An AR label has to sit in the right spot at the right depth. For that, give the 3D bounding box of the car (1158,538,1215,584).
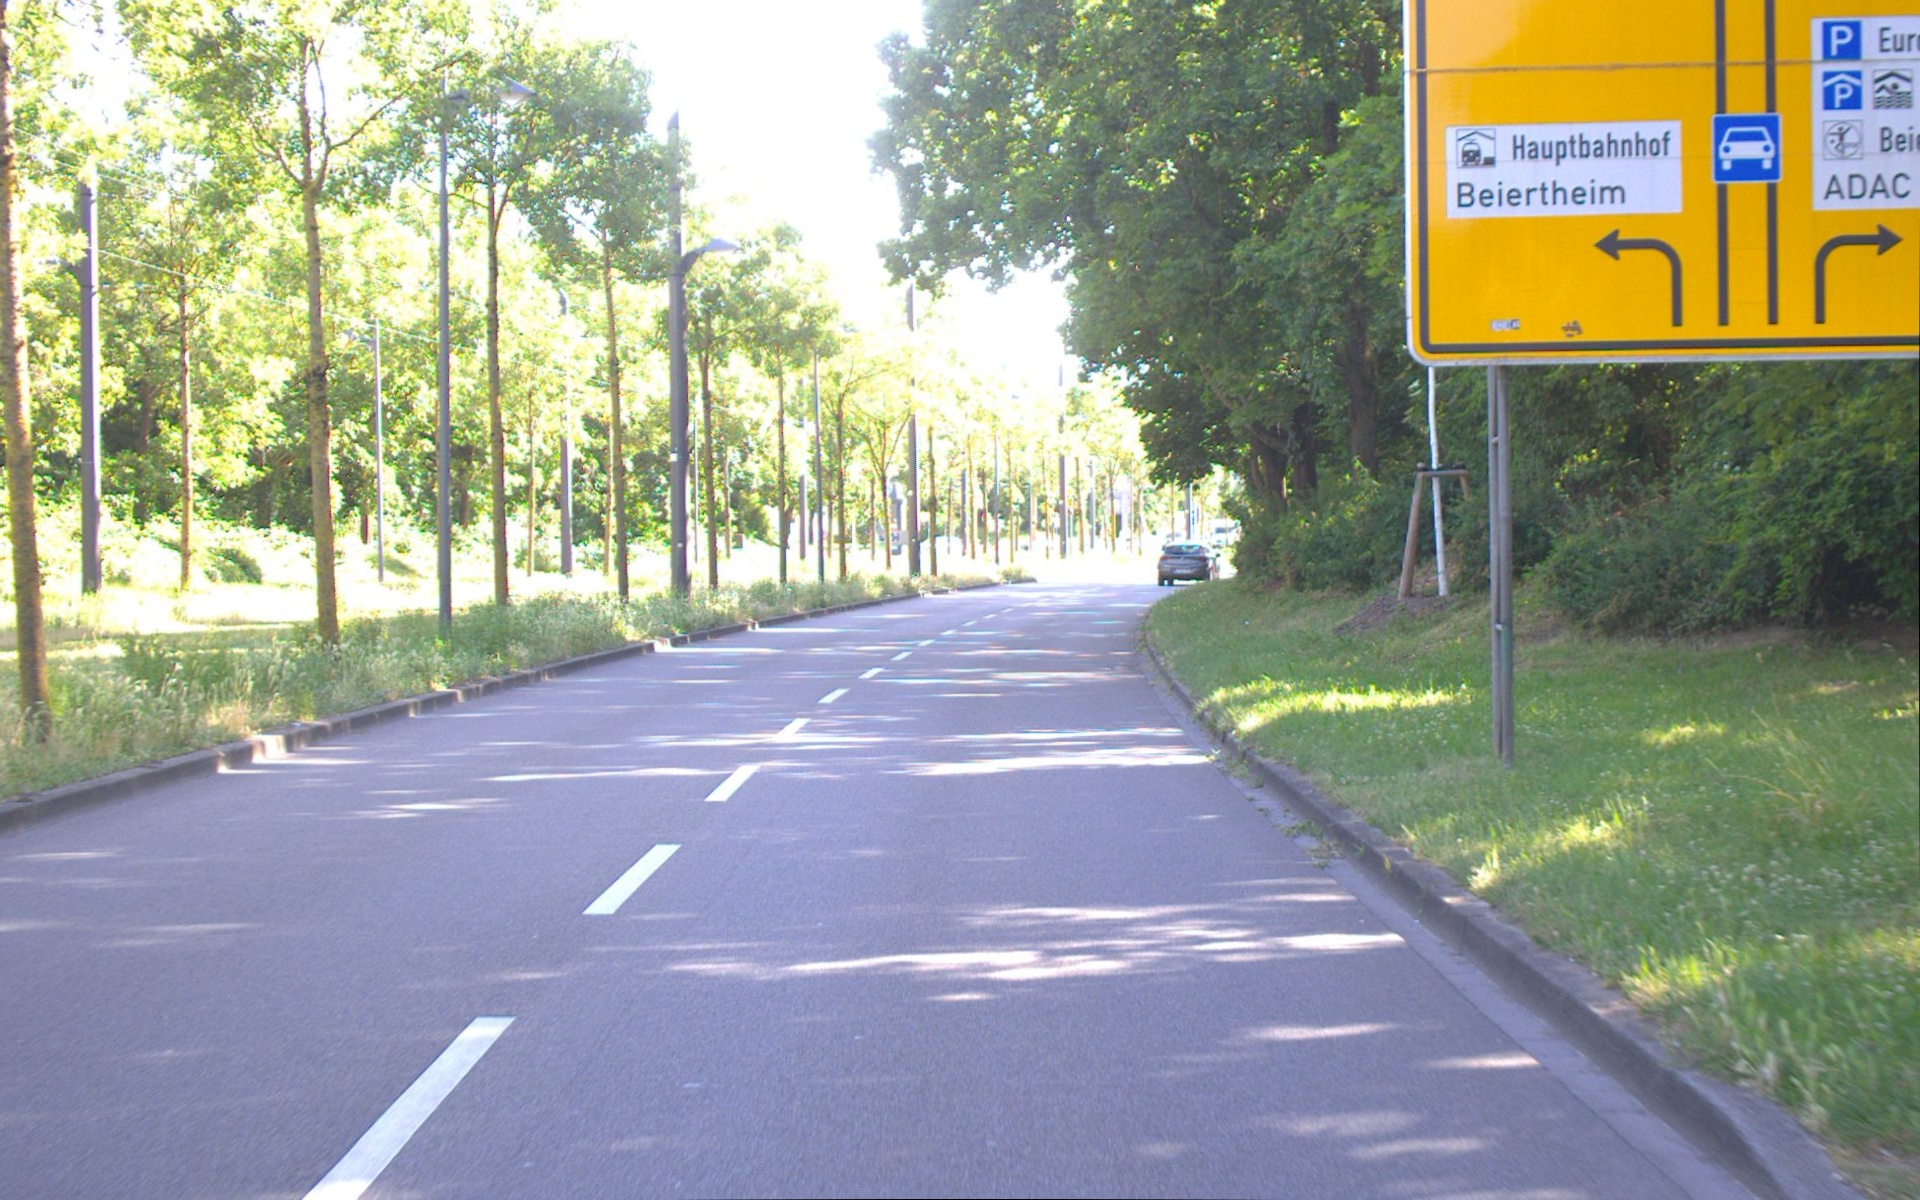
[{"bbox_3d":[7.533,-1.315,113.966,1.634,1.493,4.233,0,1,7],"label":"car"}]
